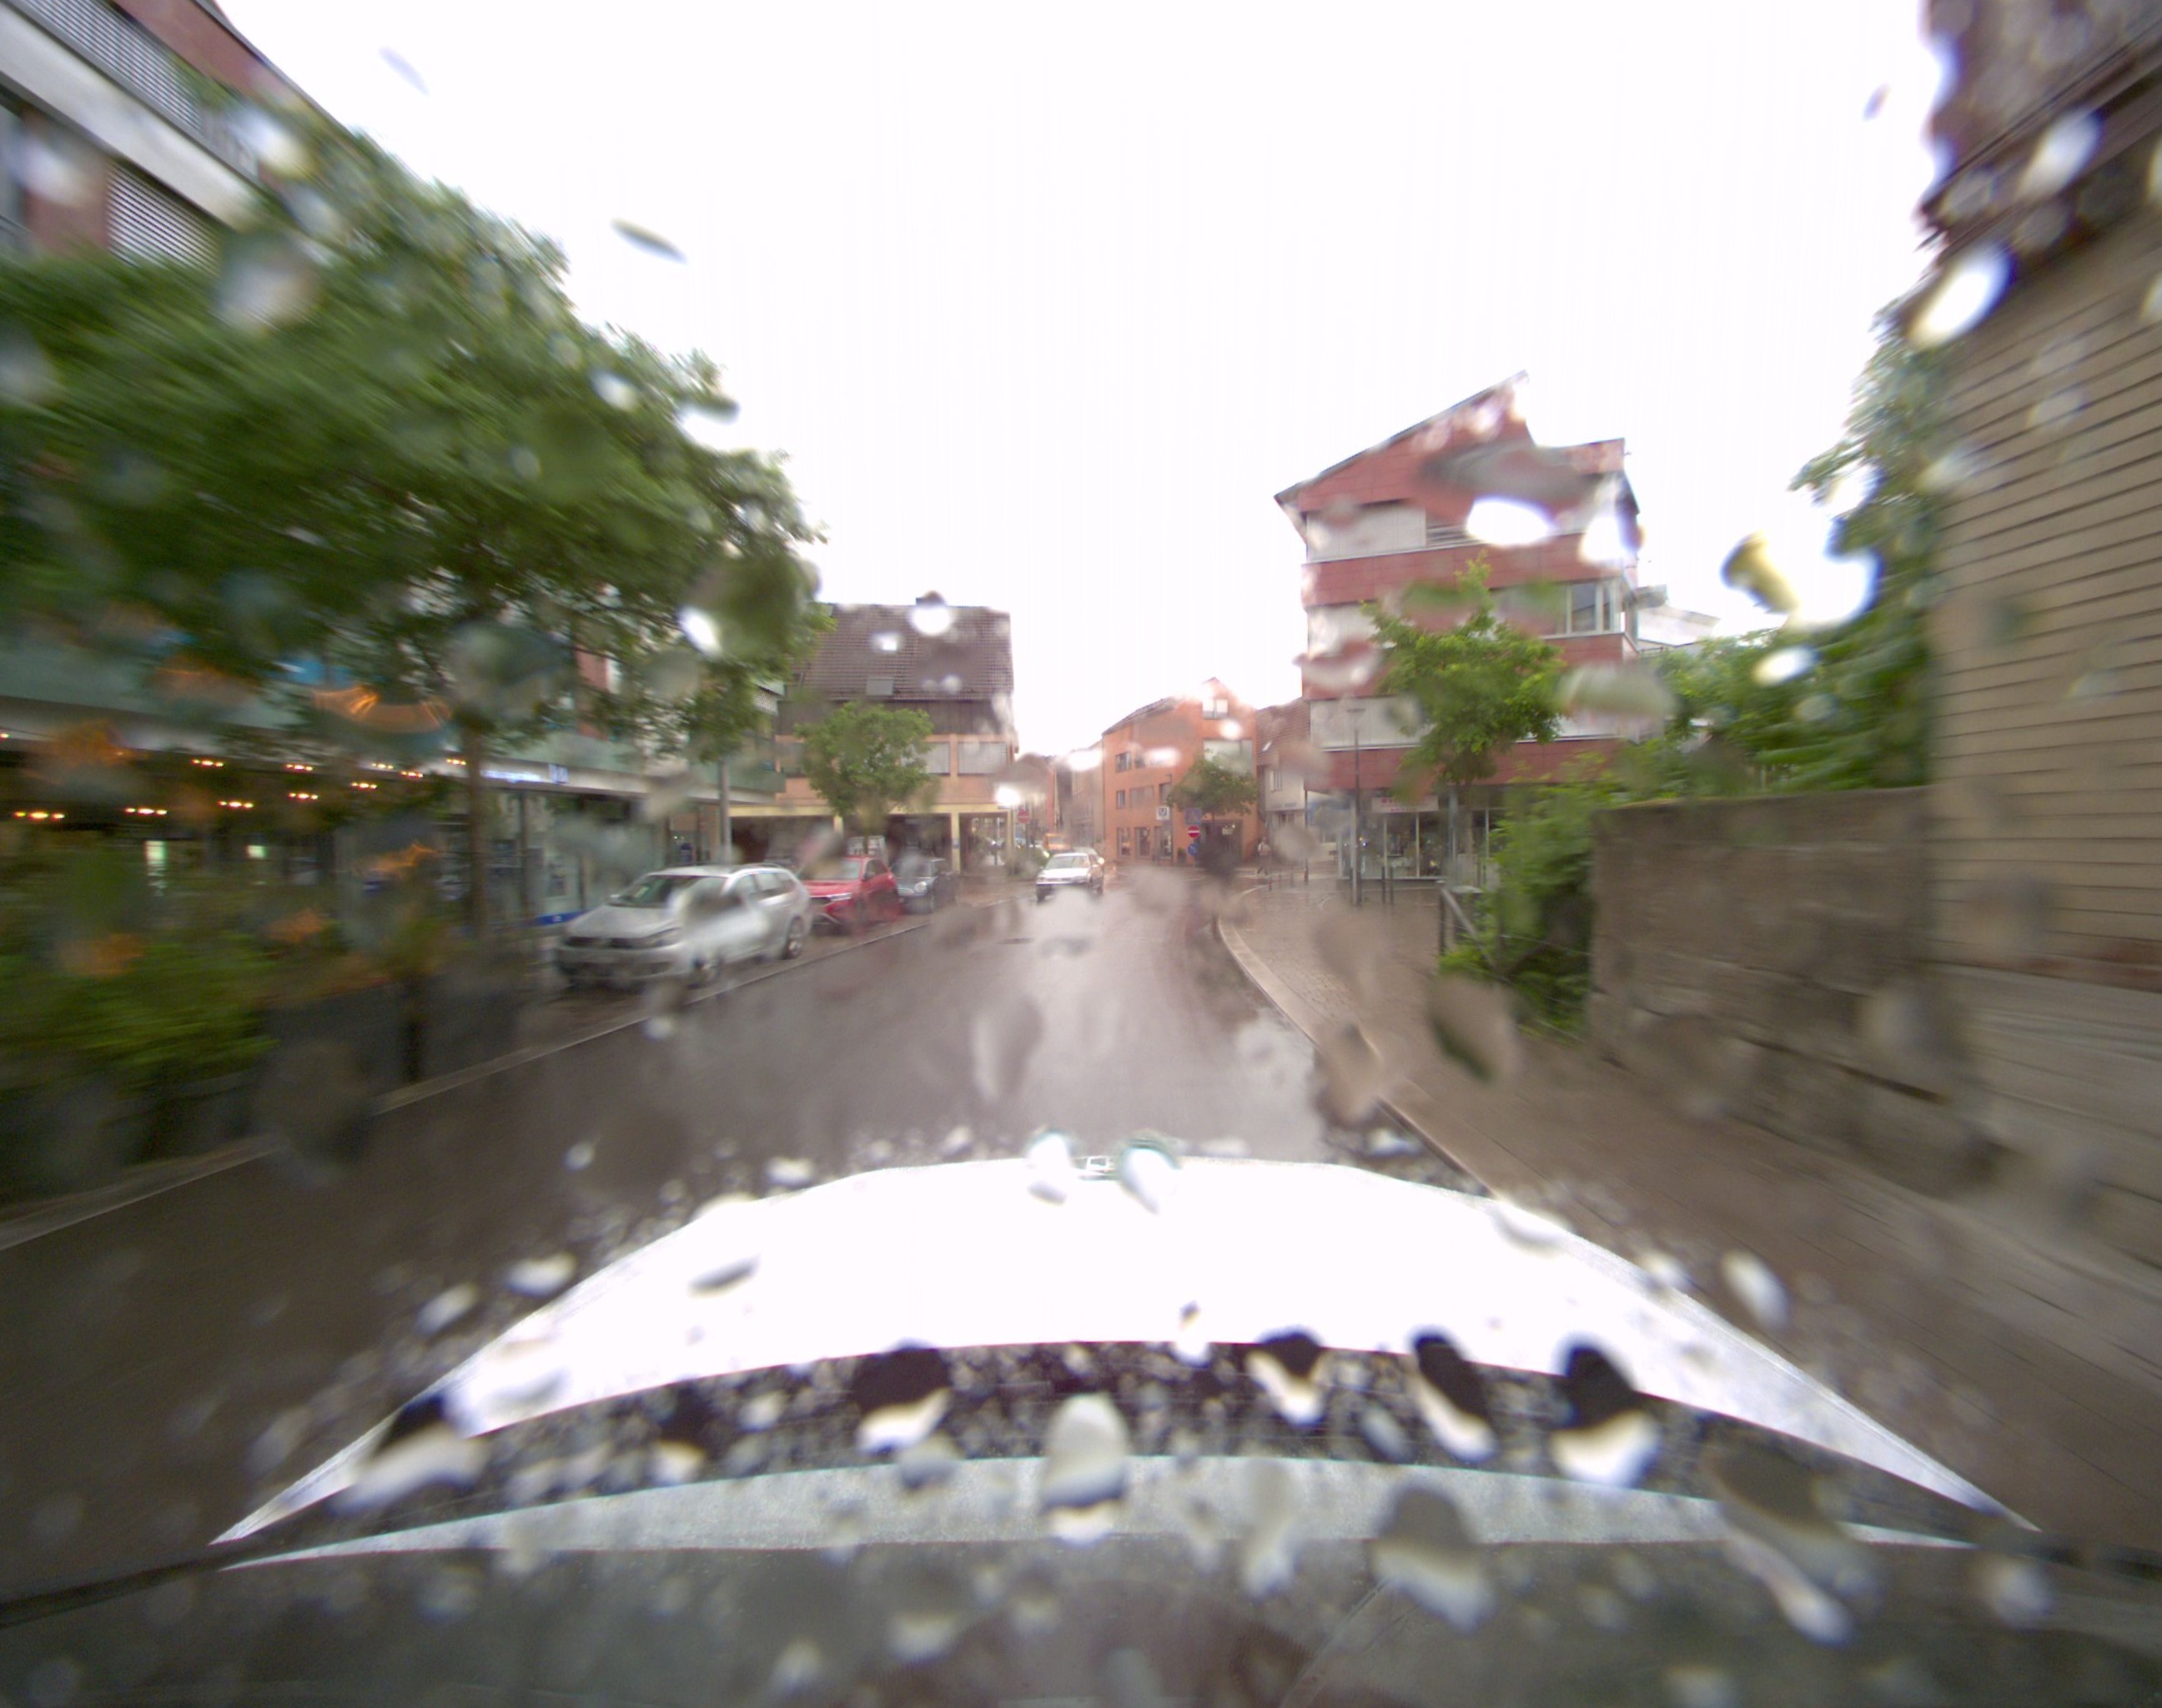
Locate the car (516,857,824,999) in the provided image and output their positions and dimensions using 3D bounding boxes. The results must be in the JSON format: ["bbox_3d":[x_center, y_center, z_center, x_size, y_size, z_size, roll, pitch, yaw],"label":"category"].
[{"bbox_3d":[-5.290,0.841,11.311,1.779,1.498,4.458,-2,0,3],"label":"car"}]

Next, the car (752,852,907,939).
[{"bbox_3d":[-5.148,0.772,17.278,1.779,1.576,4.110,-2,0,3],"label":"car"}]

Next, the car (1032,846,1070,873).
[{"bbox_3d":[-1.738,0.285,45.785,1.714,1.458,3.898,0,1,-9],"label":"car"}]

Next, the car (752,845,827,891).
[{"bbox_3d":[-12.929,0.563,36.361,1.806,1.617,4.002,-1,5,0],"label":"car"}]

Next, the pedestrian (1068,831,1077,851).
[{"bbox_3d":[-0.878,-1.336,83.438,0.866,2.013,0.705,-1,1,-10],"label":"pedestrian"}]

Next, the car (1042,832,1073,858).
[{"bbox_3d":[-2.073,-0.779,71.306,2.102,2.146,4.854,-3,0,-8],"label":"car"}]

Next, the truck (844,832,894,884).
[{"bbox_3d":[-9.715,0.124,37.534,1.594,2.062,3.189,-3,5,-4],"label":"truck"}]

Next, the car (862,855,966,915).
[{"bbox_3d":[-4.447,0.776,22.278,1.706,1.458,3.916,0,1,5],"label":"car"}]

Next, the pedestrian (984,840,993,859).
[{"bbox_3d":[-10.382,-0.508,91.485,0.834,2.013,0.851,-2,1,-11],"label":"pedestrian"}]

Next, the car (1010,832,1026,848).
[{"bbox_3d":[-8.316,-1.801,107.688,1.990,2.013,4.356,-3,0,-4],"label":"car"}]

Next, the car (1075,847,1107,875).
[{"bbox_3d":[0.507,0.384,46.384,1.643,1.445,3.982,-3,1,-1],"label":"car"}]

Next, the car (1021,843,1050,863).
[{"bbox_3d":[-3.578,-0.124,63.774,1.992,1.441,4.154,-2,1,-7],"label":"car"}]

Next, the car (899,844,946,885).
[{"bbox_3d":[-7.307,0.447,37.754,1.574,1.478,3.821,-1,5,-3],"label":"car"}]

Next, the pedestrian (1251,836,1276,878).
[{"bbox_3d":[8.406,0.118,37.565,0.853,1.914,0.763,-1,0,38],"label":"pedestrian"}]

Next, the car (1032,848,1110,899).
[{"bbox_3d":[-0.239,0.572,26.751,1.779,1.417,4.040,-3,0,10],"label":"car"}]

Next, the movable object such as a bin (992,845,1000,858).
[{"bbox_3d":[-9.267,-0.226,88.938,0.834,1.382,0.851,-2,1,-11],"label":"movable object such as a bin"}]

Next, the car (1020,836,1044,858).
[{"bbox_3d":[-5.142,-0.688,84.776,2.102,2.146,4.854,-3,0,-8],"label":"car"}]
